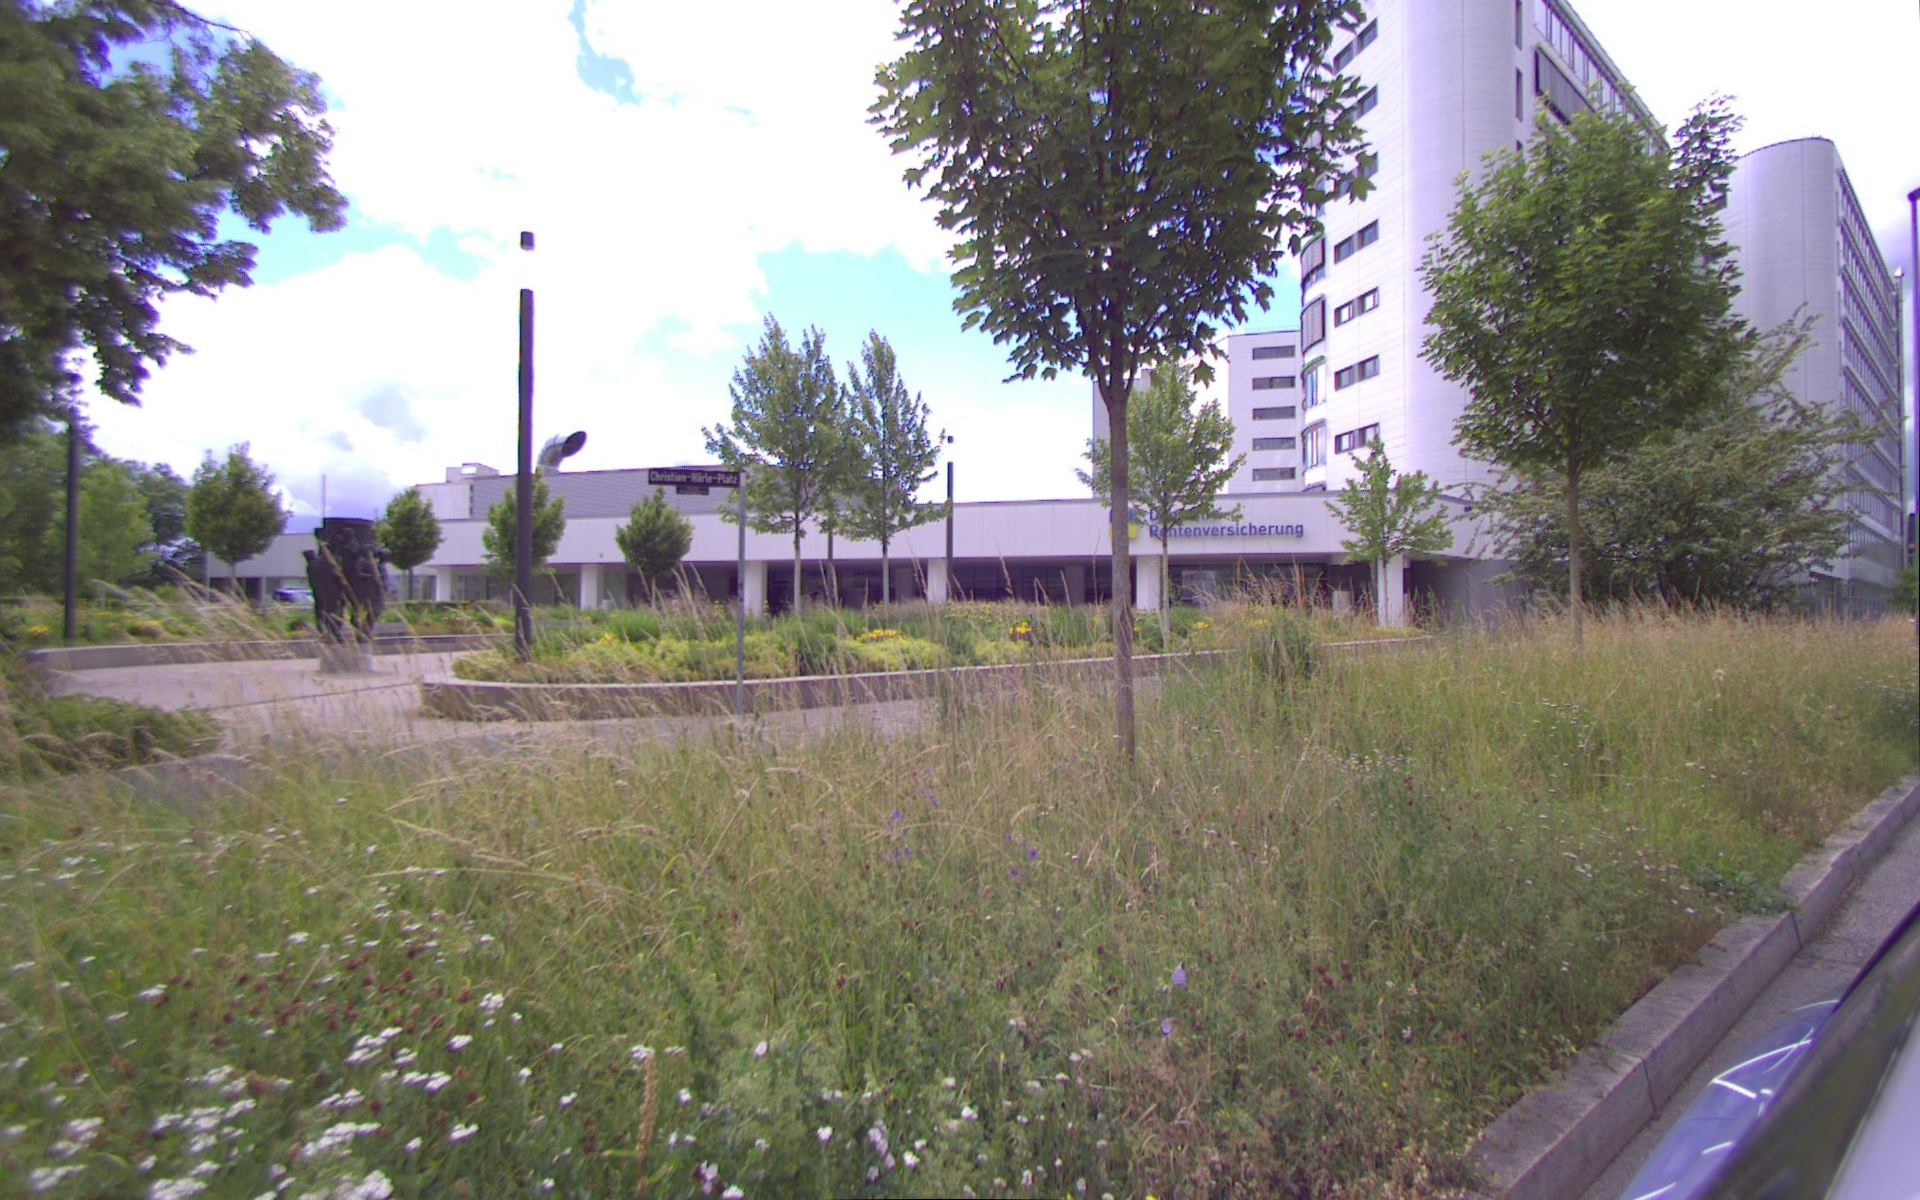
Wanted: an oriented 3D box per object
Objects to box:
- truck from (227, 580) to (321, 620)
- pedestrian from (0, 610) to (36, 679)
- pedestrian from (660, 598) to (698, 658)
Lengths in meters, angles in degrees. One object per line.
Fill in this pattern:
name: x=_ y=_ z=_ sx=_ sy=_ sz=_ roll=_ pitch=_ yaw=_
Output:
truck: x=-36.242 y=-0.025 z=53.494 sx=3.941 sy=2.039 sz=1.991 roll=1 pitch=0 yaw=14
pedestrian: x=-17.478 y=0.811 z=18.627 sx=0.621 sy=1.237 sz=0.620 roll=1 pitch=0 yaw=-36
pedestrian: x=-7.934 y=0.782 z=28.579 sx=0.760 sy=1.646 sz=0.762 roll=0 pitch=0 yaw=10
